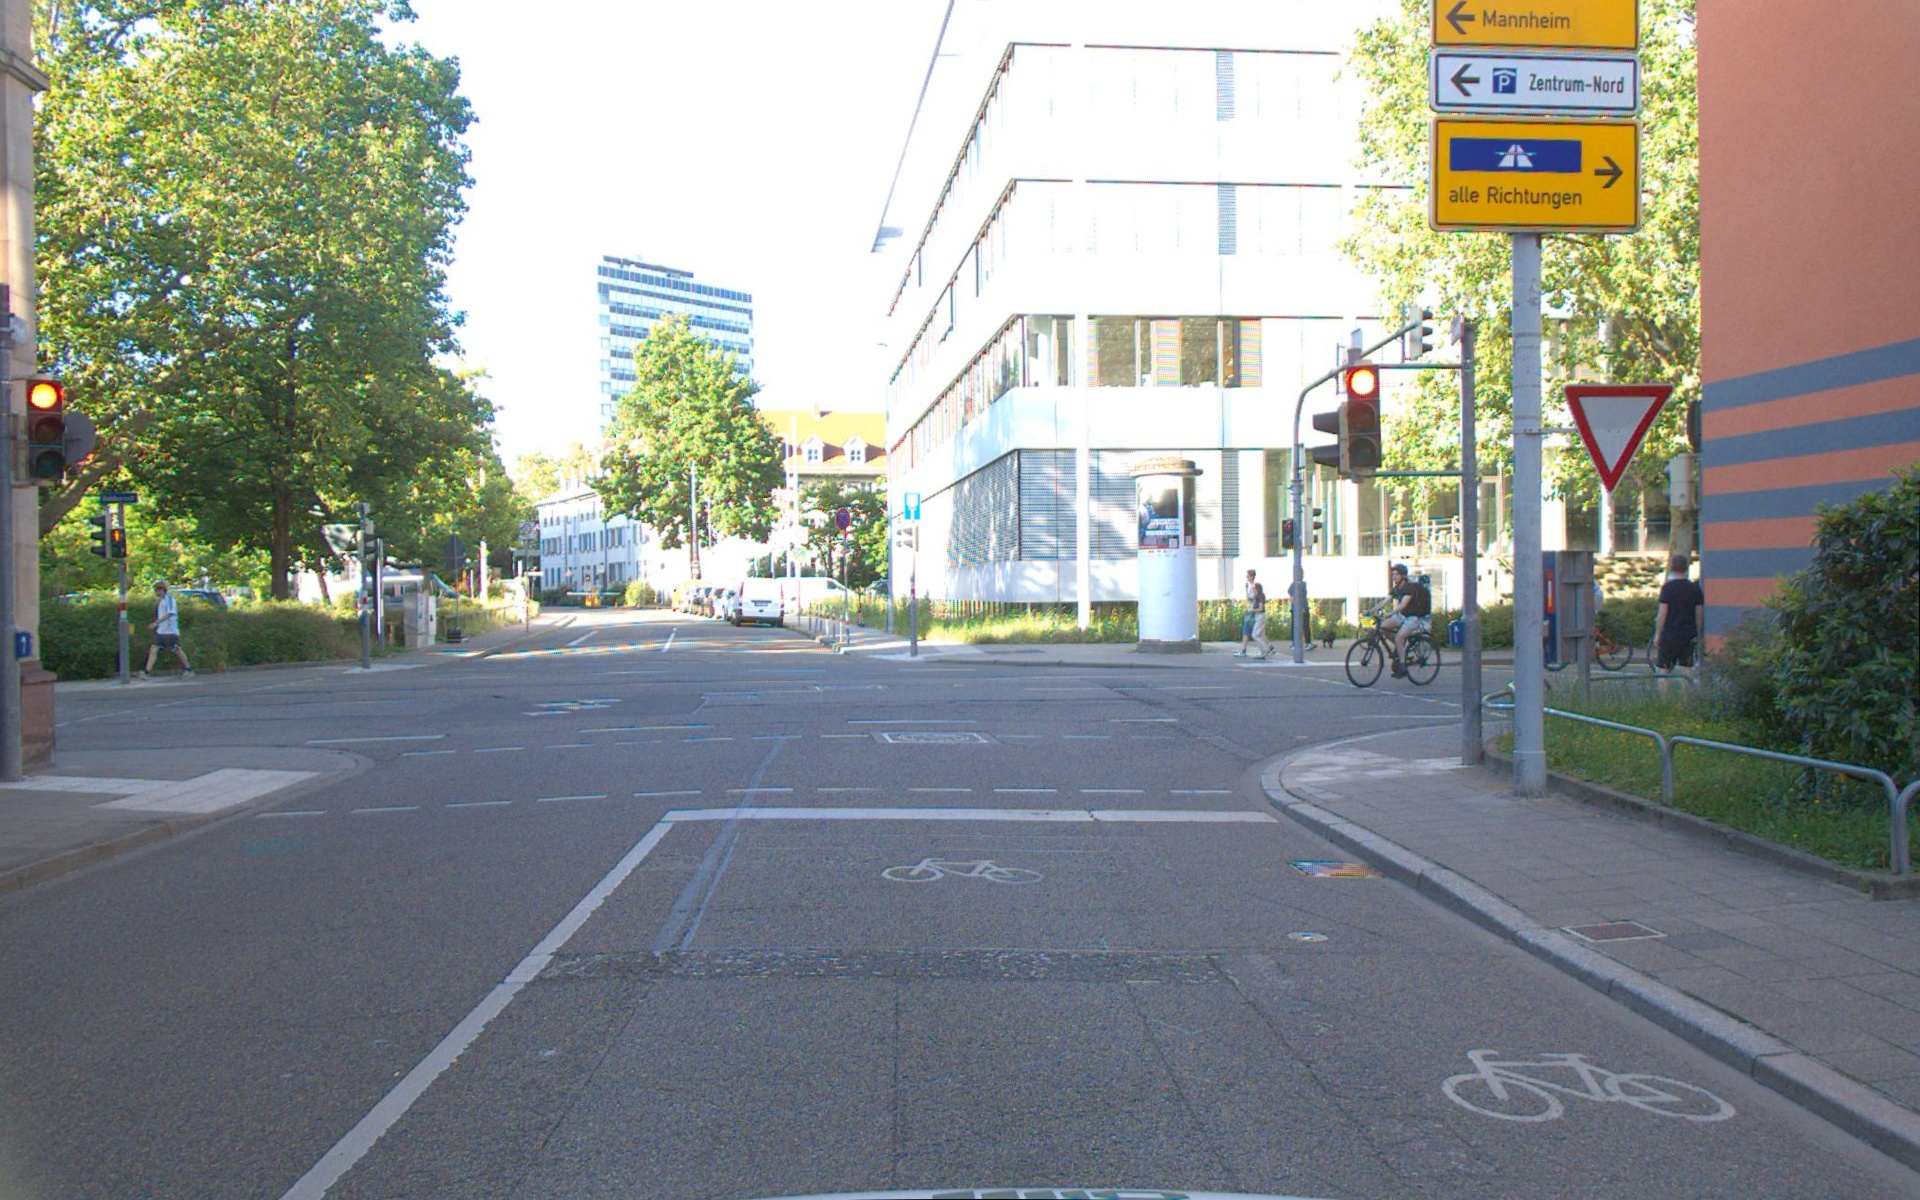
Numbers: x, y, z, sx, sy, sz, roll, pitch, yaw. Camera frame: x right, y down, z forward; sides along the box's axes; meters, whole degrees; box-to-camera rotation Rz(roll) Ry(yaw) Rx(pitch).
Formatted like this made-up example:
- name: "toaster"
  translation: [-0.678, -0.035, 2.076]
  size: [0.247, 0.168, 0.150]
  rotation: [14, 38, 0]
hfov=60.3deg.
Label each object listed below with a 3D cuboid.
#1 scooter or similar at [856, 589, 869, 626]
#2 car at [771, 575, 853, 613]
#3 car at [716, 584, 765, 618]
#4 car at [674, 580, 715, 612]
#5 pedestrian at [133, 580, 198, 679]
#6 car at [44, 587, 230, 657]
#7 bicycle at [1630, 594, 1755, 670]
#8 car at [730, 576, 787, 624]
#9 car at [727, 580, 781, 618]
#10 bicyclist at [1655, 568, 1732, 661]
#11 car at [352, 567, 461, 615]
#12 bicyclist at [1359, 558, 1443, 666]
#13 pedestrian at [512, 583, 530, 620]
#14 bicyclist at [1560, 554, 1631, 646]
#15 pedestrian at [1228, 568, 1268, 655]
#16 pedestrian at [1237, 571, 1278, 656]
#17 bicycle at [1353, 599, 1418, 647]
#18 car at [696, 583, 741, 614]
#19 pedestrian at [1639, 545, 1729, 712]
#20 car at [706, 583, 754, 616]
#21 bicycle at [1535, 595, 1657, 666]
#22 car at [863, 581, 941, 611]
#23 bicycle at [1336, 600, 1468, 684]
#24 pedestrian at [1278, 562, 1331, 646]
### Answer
- name: "scooter or similar"
  translation: [-3.428, 0.260, 58.219]
  size: [0.429, 1.278, 1.418]
  rotation: [-1, 0, -5]
- name: "car"
  translation: [-9.199, -0.362, 102.781]
  size: [4.718, 2.196, 1.990]
  rotation: [1, 0, -18]
- name: "car"
  translation: [-10.194, 0.052, 76.636]
  size: [1.958, 1.525, 4.639]
  rotation: [1, 0, -11]
- name: "car"
  translation: [-15.383, -0.219, 95.588]
  size: [1.960, 1.755, 4.635]
  rotation: [1, 0, -14]
- name: "pedestrian"
  translation: [-15.563, 0.568, 32.395]
  size: [0.730, 1.901, 0.911]
  rotation: [0, -1, 43]
- name: "car"
  translation: [-18.367, 0.490, 37.048]
  size: [3.347, 1.483, 1.646]
  rotation: [1, 0, -11]
- name: "bicycle"
  translation: [11.804, 0.505, 26.666]
  size: [1.742, 1.172, 0.627]
  rotation: [-1, 0, -2]
- name: "car"
  translation: [-7.916, 0.010, 64.686]
  size: [1.957, 1.755, 4.641]
  rotation: [1, 0, -10]
- name: "car"
  translation: [-8.868, -0.025, 70.885]
  size: [1.958, 1.525, 4.639]
  rotation: [1, 0, -11]
- name: "bicyclist"
  translation: [11.815, 0.229, 26.665]
  size: [0.951, 1.471, 0.627]
  rotation: [-1, 0, -2]
- name: "car"
  translation: [-24.962, -0.387, 74.666]
  size: [4.363, 2.049, 1.995]
  rotation: [1, 0, -10]
- name: "bicyclist"
  translation: [6.517, 0.164, 24.429]
  size: [1.061, 1.554, 0.588]
  rotation: [-1, 0, -24]
- name: "pedestrian"
  translation: [-19.055, 0.073, 71.762]
  size: [0.688, 1.614, 0.634]
  rotation: [1, -1, -16]
- name: "bicyclist"
  translation: [10.924, -0.007, 28.440]
  size: [0.899, 1.549, 0.702]
  rotation: [-1, 0, -11]
- name: "pedestrian"
  translation: [6.148, 0.252, 35.315]
  size: [0.749, 1.826, 0.648]
  rotation: [1, -1, 3]
- name: "pedestrian"
  translation: [6.207, 0.282, 34.551]
  size: [0.749, 1.749, 0.648]
  rotation: [1, -1, 2]
- name: "bicycle"
  translation: [9.323, 0.499, 36.266]
  size: [0.376, 1.026, 1.410]
  rotation: [-1, 0, -42]
- name: "car"
  translation: [-12.550, -0.058, 85.773]
  size: [1.959, 1.525, 4.637]
  rotation: [1, 0, -13]
- name: "pedestrian"
  translation: [8.181, 0.318, 18.702]
  size: [0.713, 1.842, 0.691]
  rotation: [1, -1, -42]
- name: "car"
  translation: [-11.307, -0.015, 81.067]
  size: [1.959, 1.525, 4.272]
  rotation: [1, 0, -13]
- name: "bicycle"
  translation: [10.934, 0.509, 28.441]
  size: [1.928, 1.172, 0.626]
  rotation: [-1, 0, -11]
- name: "car"
  translation: [-3.674, -0.249, 104.707]
  size: [4.563, 1.755, 1.991]
  rotation: [1, 0, -17]
- name: "bicycle"
  translation: [6.530, 0.599, 24.423]
  size: [1.937, 1.172, 0.588]
  rotation: [-1, 0, -24]
- name: "pedestrian"
  translation: [7.682, 0.094, 36.842]
  size: [0.900, 1.847, 0.758]
  rotation: [1, -1, 39]
